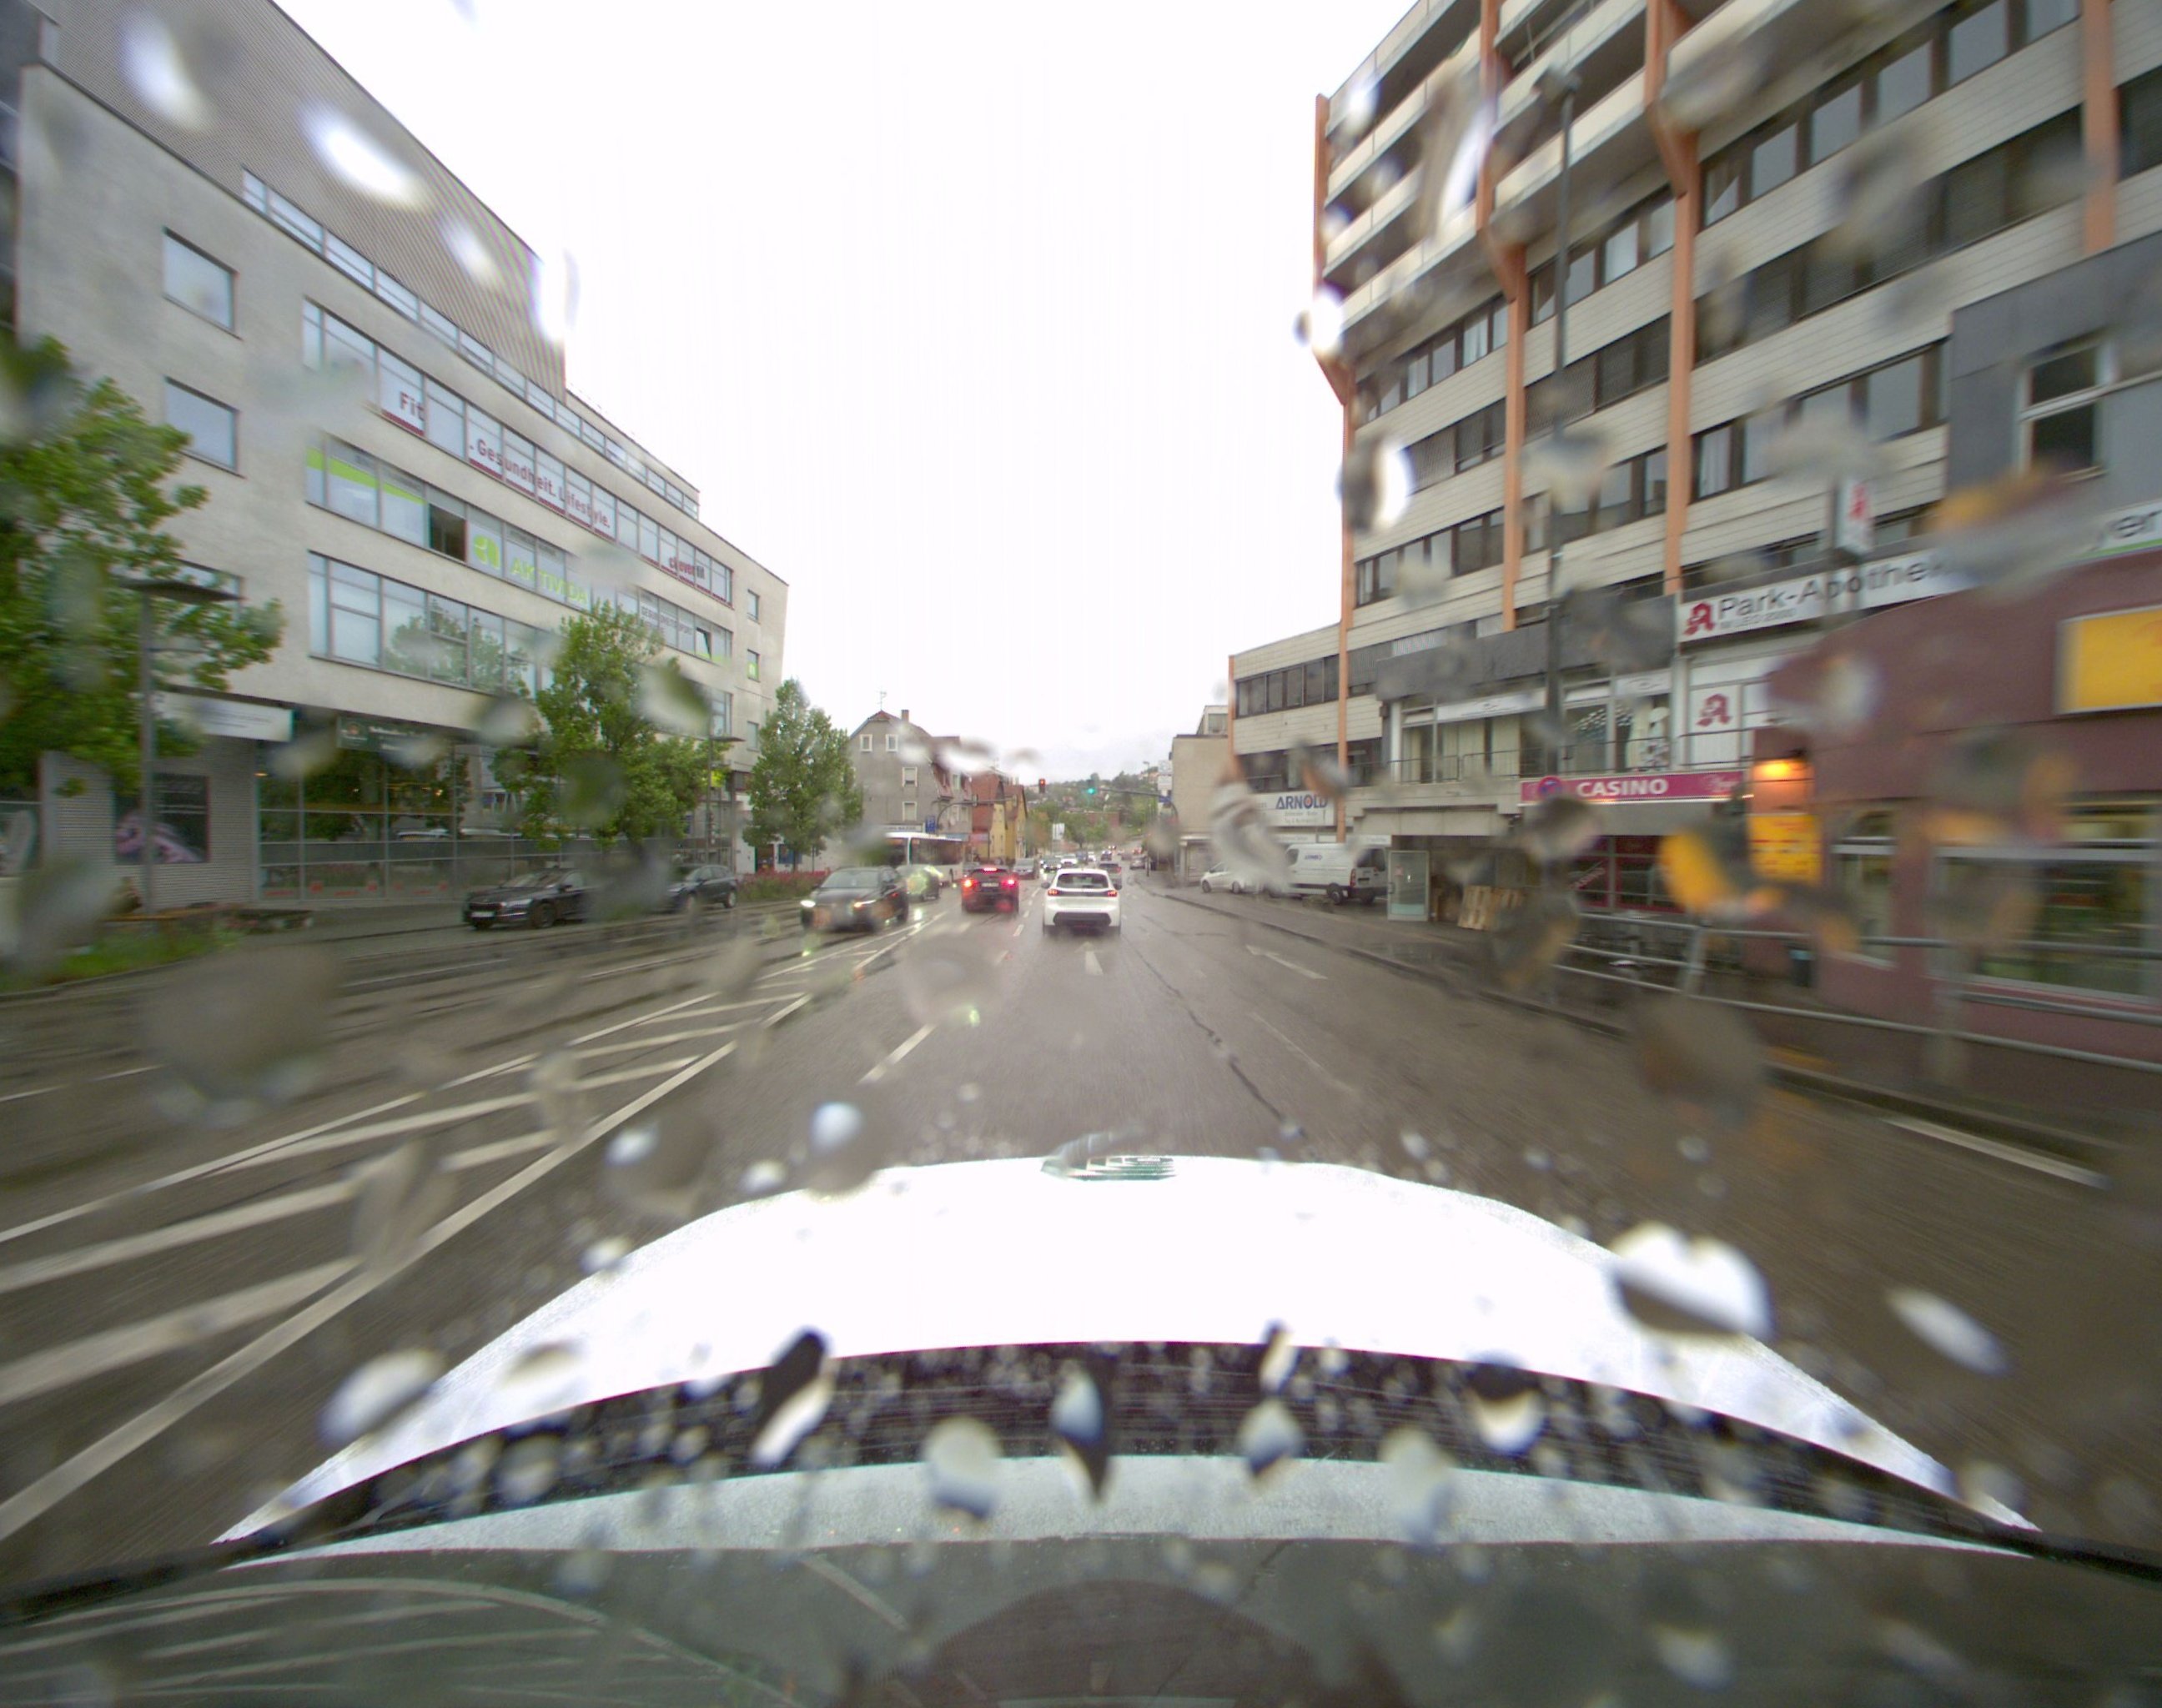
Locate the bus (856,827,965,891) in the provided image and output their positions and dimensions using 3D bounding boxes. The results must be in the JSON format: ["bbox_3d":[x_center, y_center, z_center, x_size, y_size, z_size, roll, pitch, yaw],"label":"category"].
[{"bbox_3d":[-9.228,0.279,45.962,2.879,3.099,12.010,0,0,4],"label":"bus"}]

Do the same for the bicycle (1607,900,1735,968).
[{"bbox_3d":[9.387,1.243,13.003,0.534,0.937,1.559,-3,1,-37],"label":"bicycle"}]

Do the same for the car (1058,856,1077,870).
[{"bbox_3d":[-1.632,1.103,102.239,2.090,1.712,4.851,0,-1,2],"label":"car"}]

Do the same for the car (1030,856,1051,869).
[{"bbox_3d":[-5.292,1.073,107.323,1.990,1.618,4.958,0,-1,7],"label":"car"}]

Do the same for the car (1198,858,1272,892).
[{"bbox_3d":[6.974,0.925,37.093,1.619,1.462,3.395,0,-1,-25],"label":"car"}]

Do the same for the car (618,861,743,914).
[{"bbox_3d":[-12.894,1.020,26.546,1.986,1.596,4.001,0,-1,2],"label":"car"}]

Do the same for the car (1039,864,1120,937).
[{"bbox_3d":[0.038,0.982,18.859,1.684,1.519,3.934,0,-1,2],"label":"car"}]

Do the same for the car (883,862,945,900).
[{"bbox_3d":[-6.556,1.031,32.189,1.558,1.375,3.285,-1,-1,3],"label":"car"}]

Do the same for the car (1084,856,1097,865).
[{"bbox_3d":[1.650,1.118,141.195,1.870,1.609,4.723,0,0,4],"label":"car"}]

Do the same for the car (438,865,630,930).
[{"bbox_3d":[-13.849,1.032,21.014,1.819,1.447,4.477,0,0,2],"label":"car"}]

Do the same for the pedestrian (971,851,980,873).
[{"bbox_3d":[-9.341,0.692,72.256,0.660,1.921,0.945,2,-1,-4],"label":"pedestrian"}]

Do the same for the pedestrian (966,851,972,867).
[{"bbox_3d":[-10.809,0.466,78.729,0.540,1.557,0.447,0,-1,4],"label":"pedestrian"}]

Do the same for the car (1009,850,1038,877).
[{"bbox_3d":[-4.459,0.731,63.656,1.626,2.014,4.290,0,-1,5],"label":"car"}]

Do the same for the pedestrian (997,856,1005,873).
[{"bbox_3d":[-6.773,0.883,69.076,0.577,1.394,0.561,0,-1,1],"label":"pedestrian"}]

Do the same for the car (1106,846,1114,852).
[{"bbox_3d":[8.388,-1.411,236.502,1.871,1.524,4.192,0,-1,7],"label":"car"}]

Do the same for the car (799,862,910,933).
[{"bbox_3d":[-5.426,0.975,20.063,1.703,1.517,4.387,0,-1,-3],"label":"car"}]

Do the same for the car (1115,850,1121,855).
[{"bbox_3d":[8.984,-0.342,195.729,1.379,1.126,2.613,0,-1,4],"label":"car"}]

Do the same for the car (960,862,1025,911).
[{"bbox_3d":[-2.822,0.992,26.608,1.710,1.450,4.196,0,-1,-1],"label":"car"}]

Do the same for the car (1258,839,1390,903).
[{"bbox_3d":[9.400,0.574,31.921,2.015,2.208,4.826,-3,2,-32],"label":"car"}]

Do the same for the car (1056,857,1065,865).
[{"bbox_3d":[-3.593,1.203,144.345,1.365,1.314,3.043,0,-1,2],"label":"car"}]

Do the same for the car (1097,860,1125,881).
[{"bbox_3d":[1.984,1.104,54.388,1.736,1.295,3.332,0,1,-1],"label":"car"}]

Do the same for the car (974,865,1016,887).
[{"bbox_3d":[-5.114,1.299,48.877,1.889,1.256,4.197,0,0,3],"label":"car"}]

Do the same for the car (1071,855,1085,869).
[{"bbox_3d":[-0.427,1.134,119.313,1.958,1.938,5.181,0,-1,2],"label":"car"}]

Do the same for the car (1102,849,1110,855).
[{"bbox_3d":[6.081,-0.554,194.868,1.760,1.413,4.530,0,0,3],"label":"car"}]

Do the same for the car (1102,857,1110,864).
[{"bbox_3d":[4.135,1.027,134.669,1.208,1.156,2.271,0,-1,2],"label":"car"}]

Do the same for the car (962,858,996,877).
[{"bbox_3d":[-7.355,0.945,58.899,1.632,1.338,3.608,0,-1,7],"label":"car"}]

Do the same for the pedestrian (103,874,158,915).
[{"bbox_3d":[-23.275,0.980,19.956,0.523,0.976,0.688,0,-1,4],"label":"pedestrian"}]

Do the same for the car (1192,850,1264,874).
[{"bbox_3d":[9.329,0.481,51.715,4.412,1.411,1.720,-1,1,-29],"label":"car"}]

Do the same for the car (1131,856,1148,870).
[{"bbox_3d":[7.269,1.110,101.795,2.004,1.622,4.362,1,-1,2],"label":"car"}]

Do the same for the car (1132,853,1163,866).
[{"bbox_3d":[12.954,1.029,158.357,6.663,2.382,2.270,0,-1,-45],"label":"car"}]

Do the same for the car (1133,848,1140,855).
[{"bbox_3d":[13.670,-0.593,200.301,1.640,1.485,3.369,0,-1,4],"label":"car"}]

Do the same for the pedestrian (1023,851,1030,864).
[{"bbox_3d":[-7.162,0.448,106.708,0.796,1.788,0.884,0,-1,7],"label":"pedestrian"}]

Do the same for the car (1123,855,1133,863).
[{"bbox_3d":[8.644,0.952,150.044,1.727,1.388,3.355,1,0,3],"label":"car"}]

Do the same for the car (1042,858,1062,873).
[{"bbox_3d":[-3.007,1.184,85.049,1.751,1.434,4.382,0,0,2],"label":"car"}]
